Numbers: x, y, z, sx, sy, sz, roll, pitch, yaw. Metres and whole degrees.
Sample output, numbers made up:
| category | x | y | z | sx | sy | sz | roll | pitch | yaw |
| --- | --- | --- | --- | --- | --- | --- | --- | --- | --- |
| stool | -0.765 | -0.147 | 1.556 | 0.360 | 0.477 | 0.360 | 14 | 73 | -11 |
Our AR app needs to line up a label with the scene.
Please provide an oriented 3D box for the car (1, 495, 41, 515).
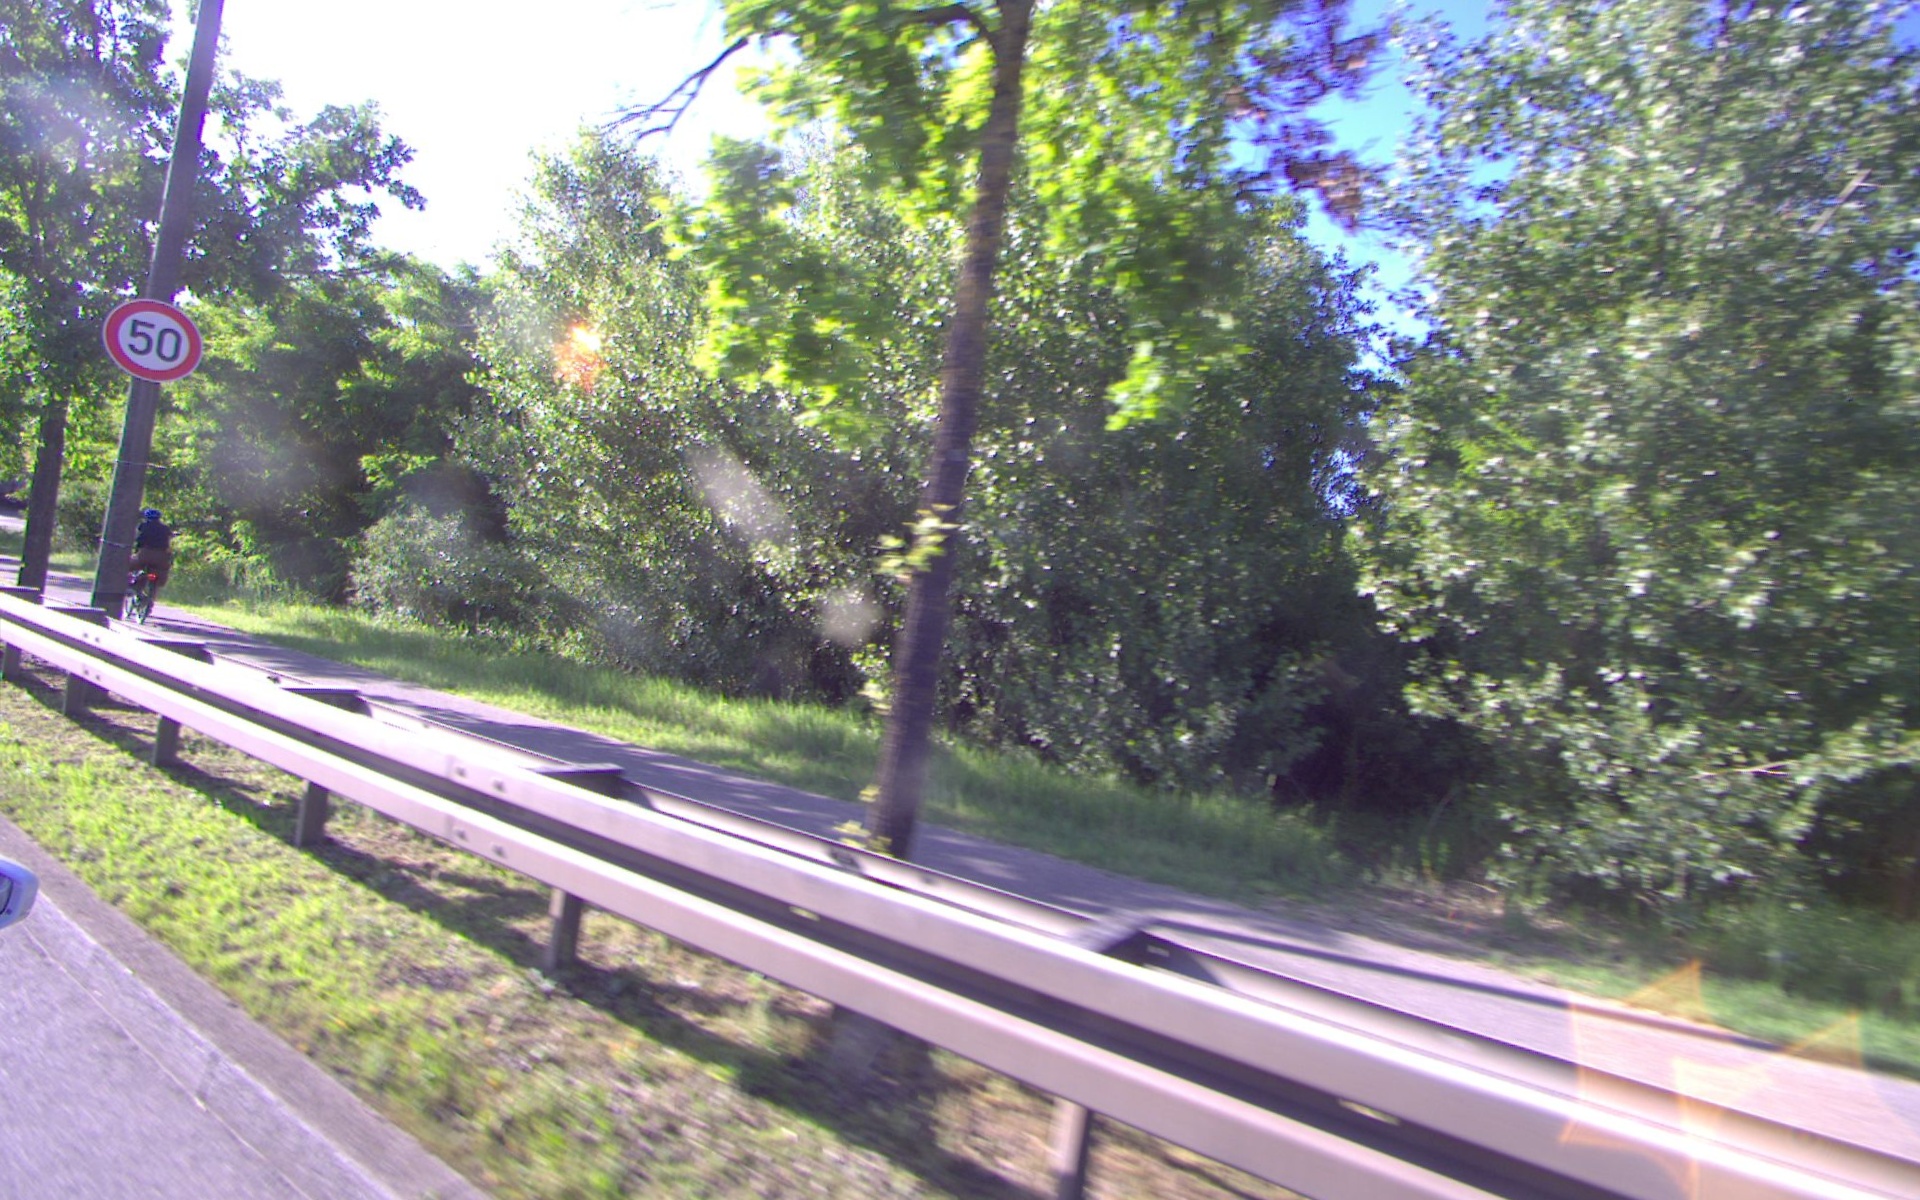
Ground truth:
| category | x | y | z | sx | sy | sz | roll | pitch | yaw |
| --- | --- | --- | --- | --- | --- | --- | --- | --- | --- |
| car | -100.477 | -10.155 | 107.715 | 1.692 | 1.540 | 3.724 | 10 | -2 | -22 |

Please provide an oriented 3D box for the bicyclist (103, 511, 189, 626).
| category | x | y | z | sx | sy | sz | roll | pitch | yaw |
| --- | --- | --- | --- | --- | --- | --- | --- | --- | --- |
| bicyclist | -12.337 | -0.481 | 15.245 | 0.990 | 1.598 | 0.707 | 7 | 0 | 39 |

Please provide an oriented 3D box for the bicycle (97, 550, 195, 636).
| category | x | y | z | sx | sy | sz | roll | pitch | yaw |
| --- | --- | --- | --- | --- | --- | --- | --- | --- | --- |
| bicycle | -12.314 | -0.117 | 15.192 | 1.893 | 1.087 | 0.700 | 6 | 0 | 39 |
